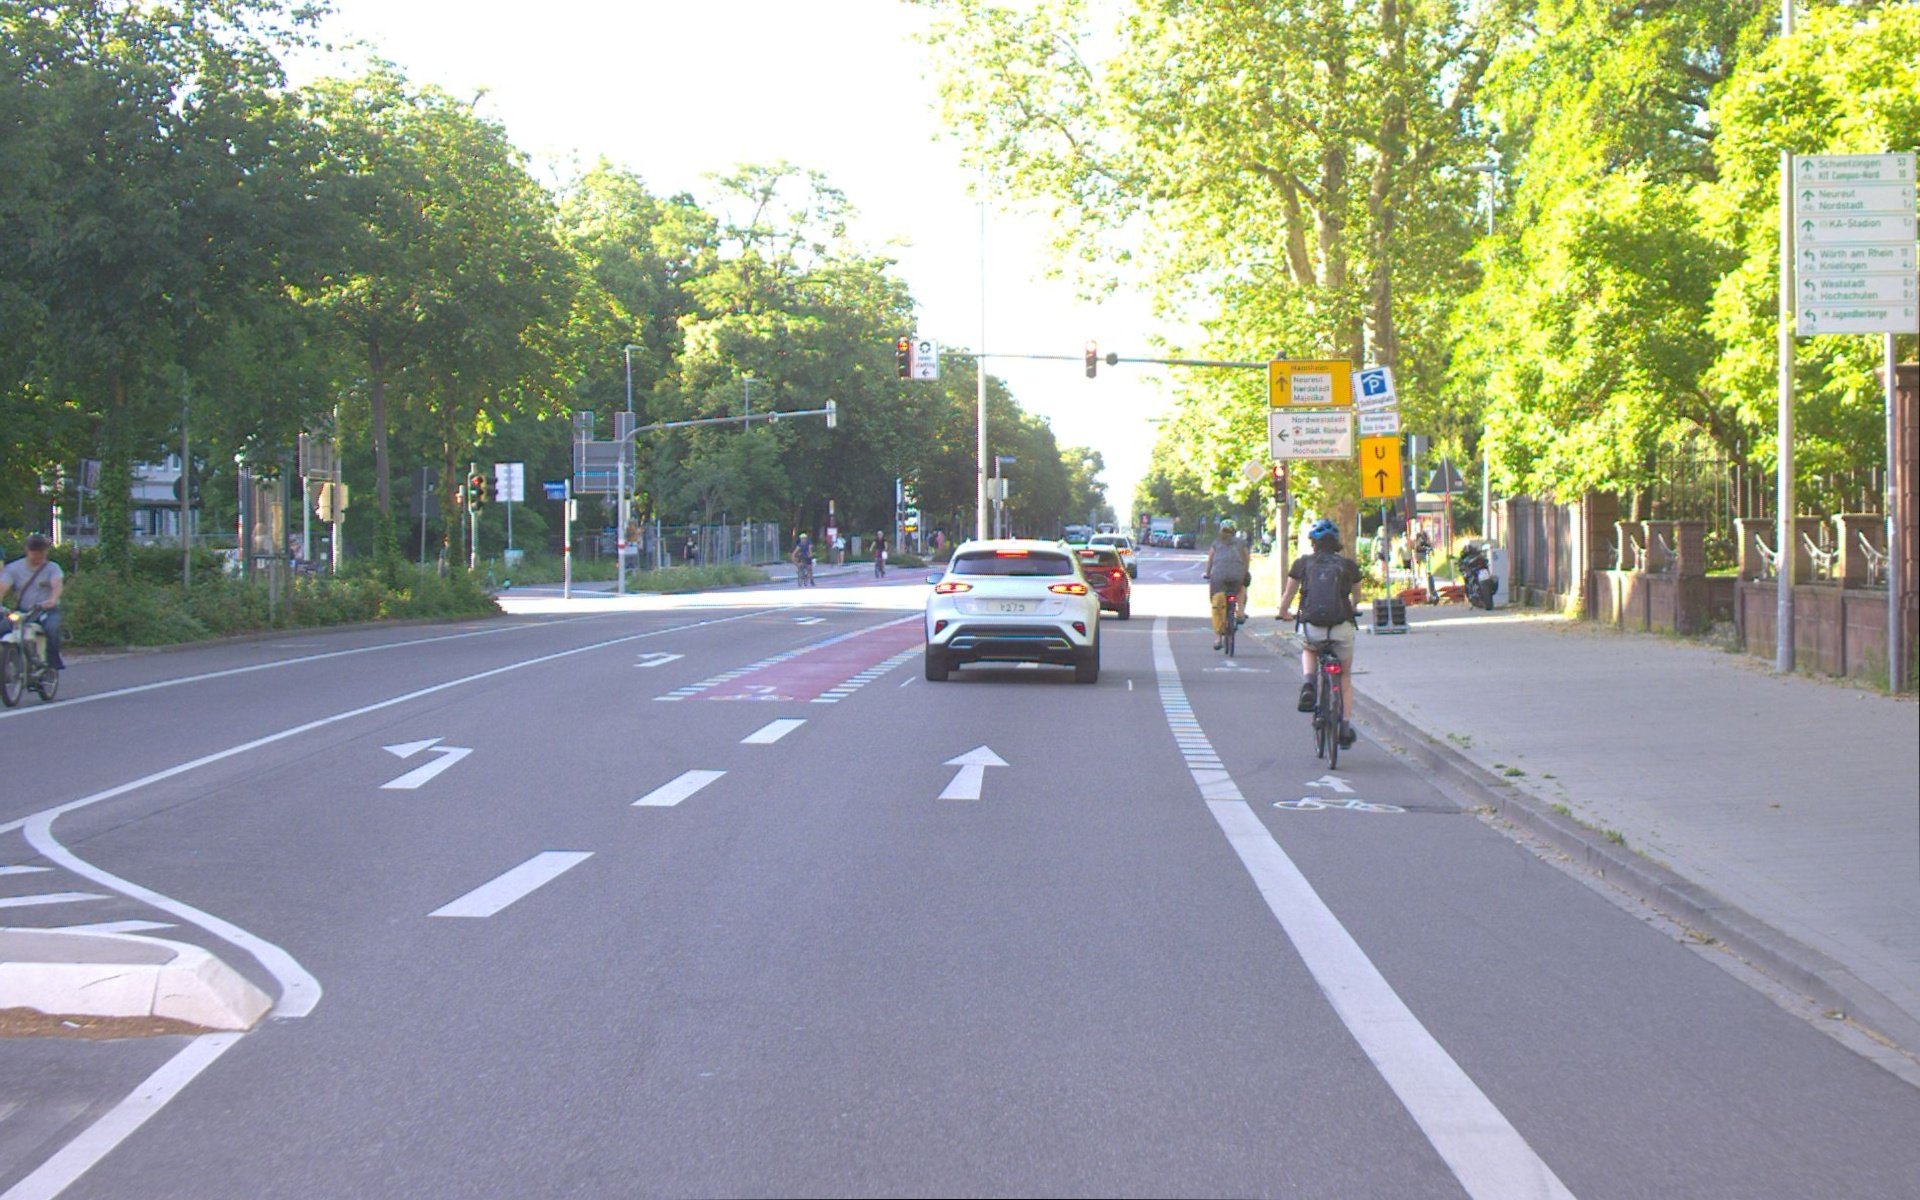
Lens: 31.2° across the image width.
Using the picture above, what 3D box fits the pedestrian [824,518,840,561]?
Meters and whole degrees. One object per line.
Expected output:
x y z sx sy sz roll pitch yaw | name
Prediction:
-5.938 -2.814 159.483 0.656 2.007 0.832 -1 1 1 | pedestrian

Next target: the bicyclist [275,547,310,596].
-20.789 -0.891 107.077 0.922 1.503 0.506 -1 1 10 | bicyclist

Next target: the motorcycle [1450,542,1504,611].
9.269 -0.437 61.675 0.662 1.163 2.327 -3 1 3 | motorcycle

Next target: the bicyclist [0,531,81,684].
-8.987 0.066 33.207 0.646 1.414 0.971 -4 1 0 | bicyclist

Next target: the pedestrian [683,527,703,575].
-10.540 -1.946 135.726 0.651 1.881 0.662 -1 1 5 | pedestrian

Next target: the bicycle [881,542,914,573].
-2.428 -1.662 133.519 0.964 1.177 2.950 -1 1 5 | bicycle

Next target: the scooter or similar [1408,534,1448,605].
9.305 -0.611 68.458 0.566 1.378 1.856 -1 1 1 | scooter or similar

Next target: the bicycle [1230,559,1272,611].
5.873 -0.301 69.398 0.753 1.022 1.869 1 0 3 | bicycle

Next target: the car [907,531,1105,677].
0.548 0.002 37.183 1.994 1.448 4.000 -1 1 2 | car

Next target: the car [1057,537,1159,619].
2.933 -0.455 67.921 1.929 1.528 4.000 -1 1 3 | car

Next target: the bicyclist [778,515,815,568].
-5.461 -1.948 114.864 1.092 1.748 1.097 -1 1 5 | bicyclist

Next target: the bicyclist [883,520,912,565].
-2.425 -2.229 133.633 0.956 1.699 1.232 -1 1 4 | bicyclist

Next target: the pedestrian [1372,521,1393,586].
11.919 -1.303 96.975 0.482 1.786 0.431 -3 4 9 | pedestrian

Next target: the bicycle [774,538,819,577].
-5.451 -1.414 114.792 1.102 1.250 2.779 -1 1 5 | bicycle

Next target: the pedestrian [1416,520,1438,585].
13.275 -1.347 97.728 0.482 1.786 0.431 -3 4 9 | pedestrian

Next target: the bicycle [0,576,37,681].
-10.727 0.328 37.674 0.597 1.117 2.027 -4 1 0 | bicycle

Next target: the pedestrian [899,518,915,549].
-3.747 -4.683 242.705 0.876 2.142 1.103 -1 1 12 | pedestrian

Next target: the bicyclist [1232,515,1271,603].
5.886 -0.831 69.469 0.750 1.744 0.843 0 1 2 | bicyclist

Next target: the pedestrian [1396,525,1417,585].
12.610 -1.282 97.095 0.482 1.634 0.431 -4 4 9 | pedestrian

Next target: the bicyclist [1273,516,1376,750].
2.567 0.217 24.323 0.636 1.609 1.284 0 1 3 | bicyclist

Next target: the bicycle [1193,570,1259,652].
3.378 0.129 43.771 0.753 1.022 1.869 1 0 3 | bicycle

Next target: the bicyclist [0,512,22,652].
-10.748 -0.187 37.678 0.629 1.517 0.724 -4 1 0 | bicyclist

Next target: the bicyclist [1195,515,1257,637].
3.387 -0.315 43.846 0.747 1.532 0.969 0 1 3 | bicyclist

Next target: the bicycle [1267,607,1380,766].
2.565 0.589 24.417 0.643 1.021 2.212 1 1 3 | bicycle

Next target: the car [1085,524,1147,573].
5.244 -1.738 115.095 1.737 1.541 3.999 -1 1 7 | car

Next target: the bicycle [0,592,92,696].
-8.970 0.410 33.189 0.616 0.918 2.180 -1 1 0 | bicycle
